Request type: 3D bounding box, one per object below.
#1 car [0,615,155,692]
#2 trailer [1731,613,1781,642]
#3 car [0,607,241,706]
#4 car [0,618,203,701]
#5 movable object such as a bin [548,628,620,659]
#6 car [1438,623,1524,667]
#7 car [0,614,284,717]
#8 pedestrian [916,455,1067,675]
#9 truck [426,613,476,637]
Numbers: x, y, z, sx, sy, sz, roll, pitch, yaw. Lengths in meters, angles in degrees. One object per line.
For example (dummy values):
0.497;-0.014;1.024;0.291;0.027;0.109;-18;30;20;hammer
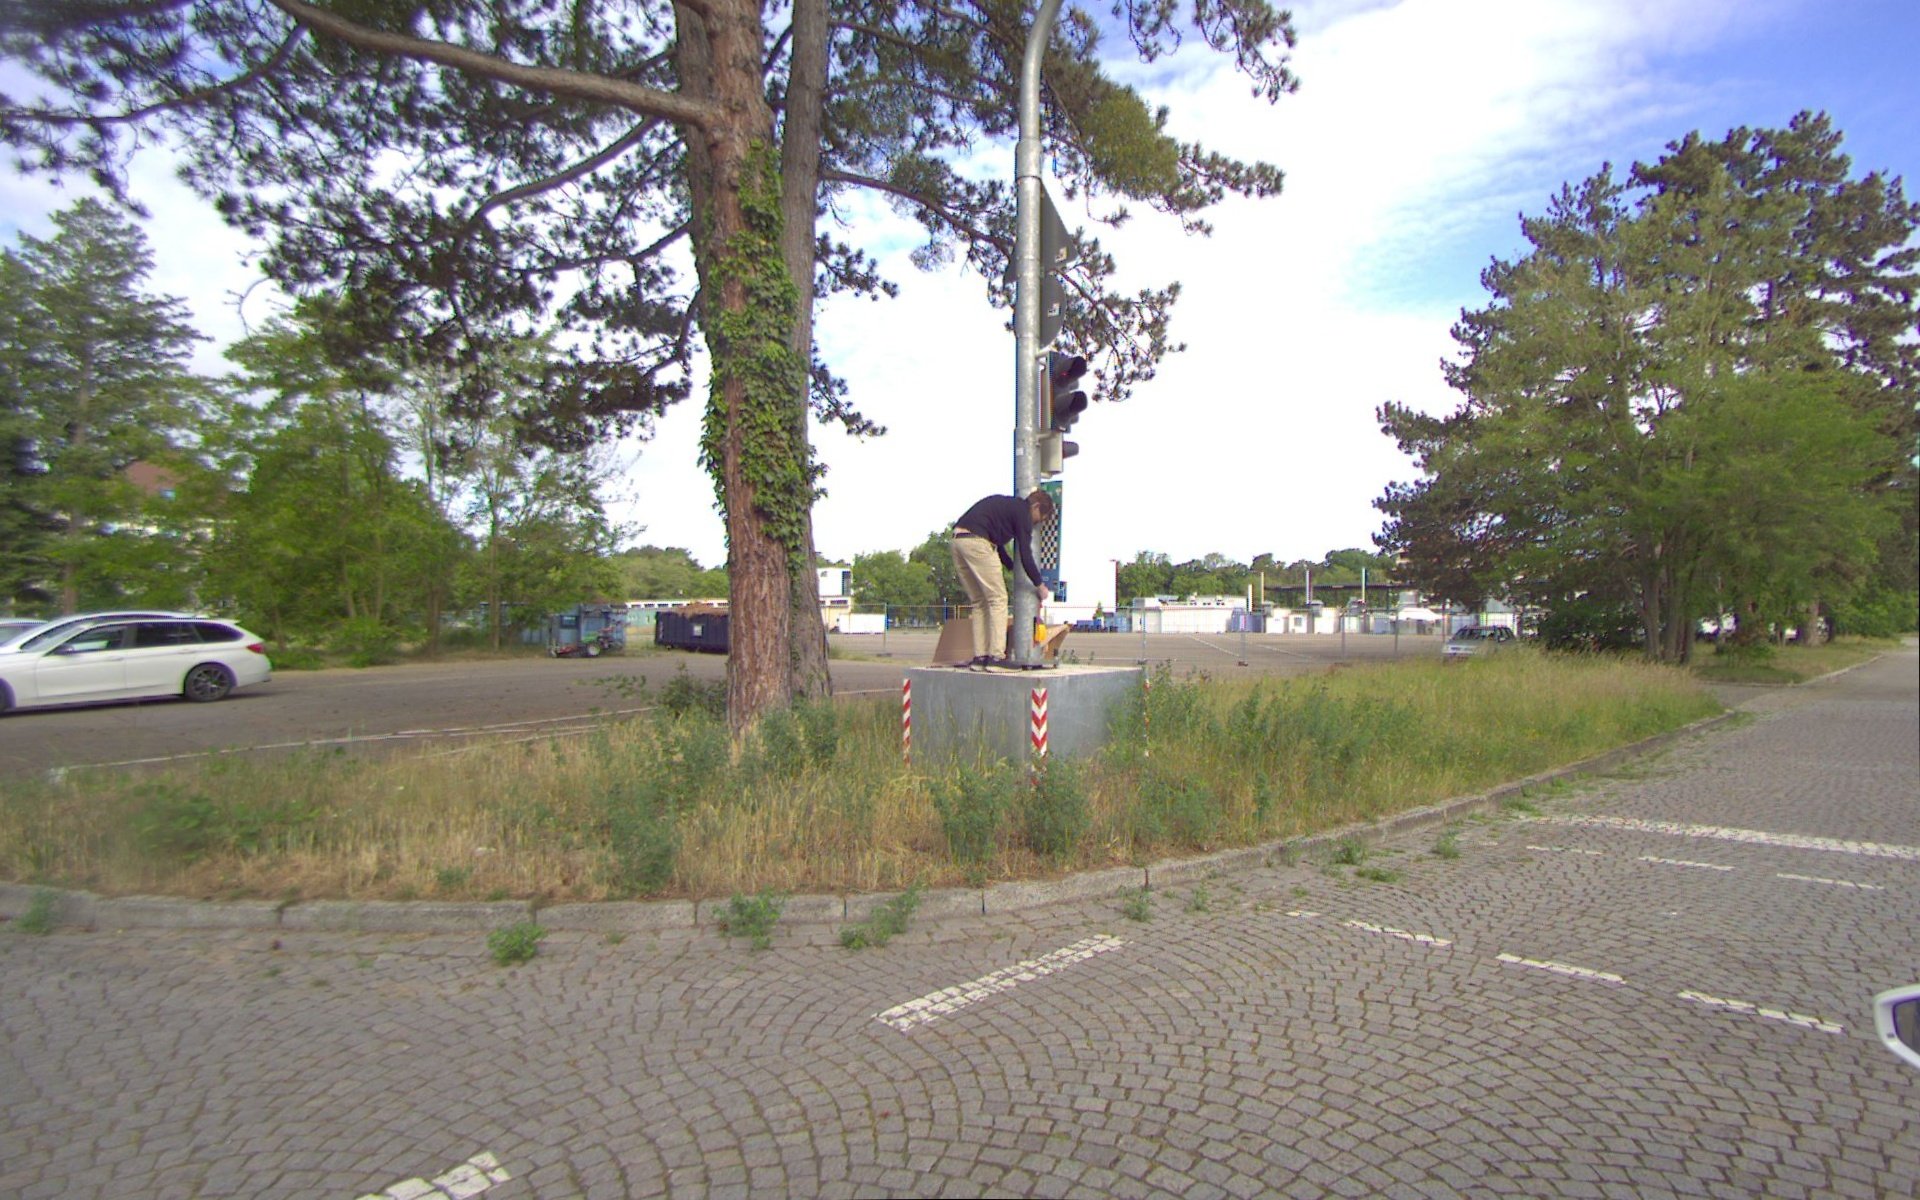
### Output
-20.257;1.149;21.881;1.715;1.542;4.087;-1;0;45;car
86.970;2.985;109.630;8.723;3.108;3.128;1;-1;-44;trailer
-16.176;0.981;18.438;1.815;1.599;4.559;-1;0;42;car
-18.162;1.158;20.145;1.816;1.489;4.555;-1;0;45;car
-11.964;1.386;32.009;1.025;0.945;1.928;-1;-2;38;movable object such as a bin
18.841;1.580;36.221;1.696;1.457;4.443;0;-1;42;car
-14.236;1.025;16.736;1.815;1.470;4.629;-1;0;42;car
0.228;-0.235;7.624;0.812;1.537;0.877;1;-1;-31;pedestrian
-48.556;2.349;95.801;6.467;2.227;2.360;-1;-1;45;truck
